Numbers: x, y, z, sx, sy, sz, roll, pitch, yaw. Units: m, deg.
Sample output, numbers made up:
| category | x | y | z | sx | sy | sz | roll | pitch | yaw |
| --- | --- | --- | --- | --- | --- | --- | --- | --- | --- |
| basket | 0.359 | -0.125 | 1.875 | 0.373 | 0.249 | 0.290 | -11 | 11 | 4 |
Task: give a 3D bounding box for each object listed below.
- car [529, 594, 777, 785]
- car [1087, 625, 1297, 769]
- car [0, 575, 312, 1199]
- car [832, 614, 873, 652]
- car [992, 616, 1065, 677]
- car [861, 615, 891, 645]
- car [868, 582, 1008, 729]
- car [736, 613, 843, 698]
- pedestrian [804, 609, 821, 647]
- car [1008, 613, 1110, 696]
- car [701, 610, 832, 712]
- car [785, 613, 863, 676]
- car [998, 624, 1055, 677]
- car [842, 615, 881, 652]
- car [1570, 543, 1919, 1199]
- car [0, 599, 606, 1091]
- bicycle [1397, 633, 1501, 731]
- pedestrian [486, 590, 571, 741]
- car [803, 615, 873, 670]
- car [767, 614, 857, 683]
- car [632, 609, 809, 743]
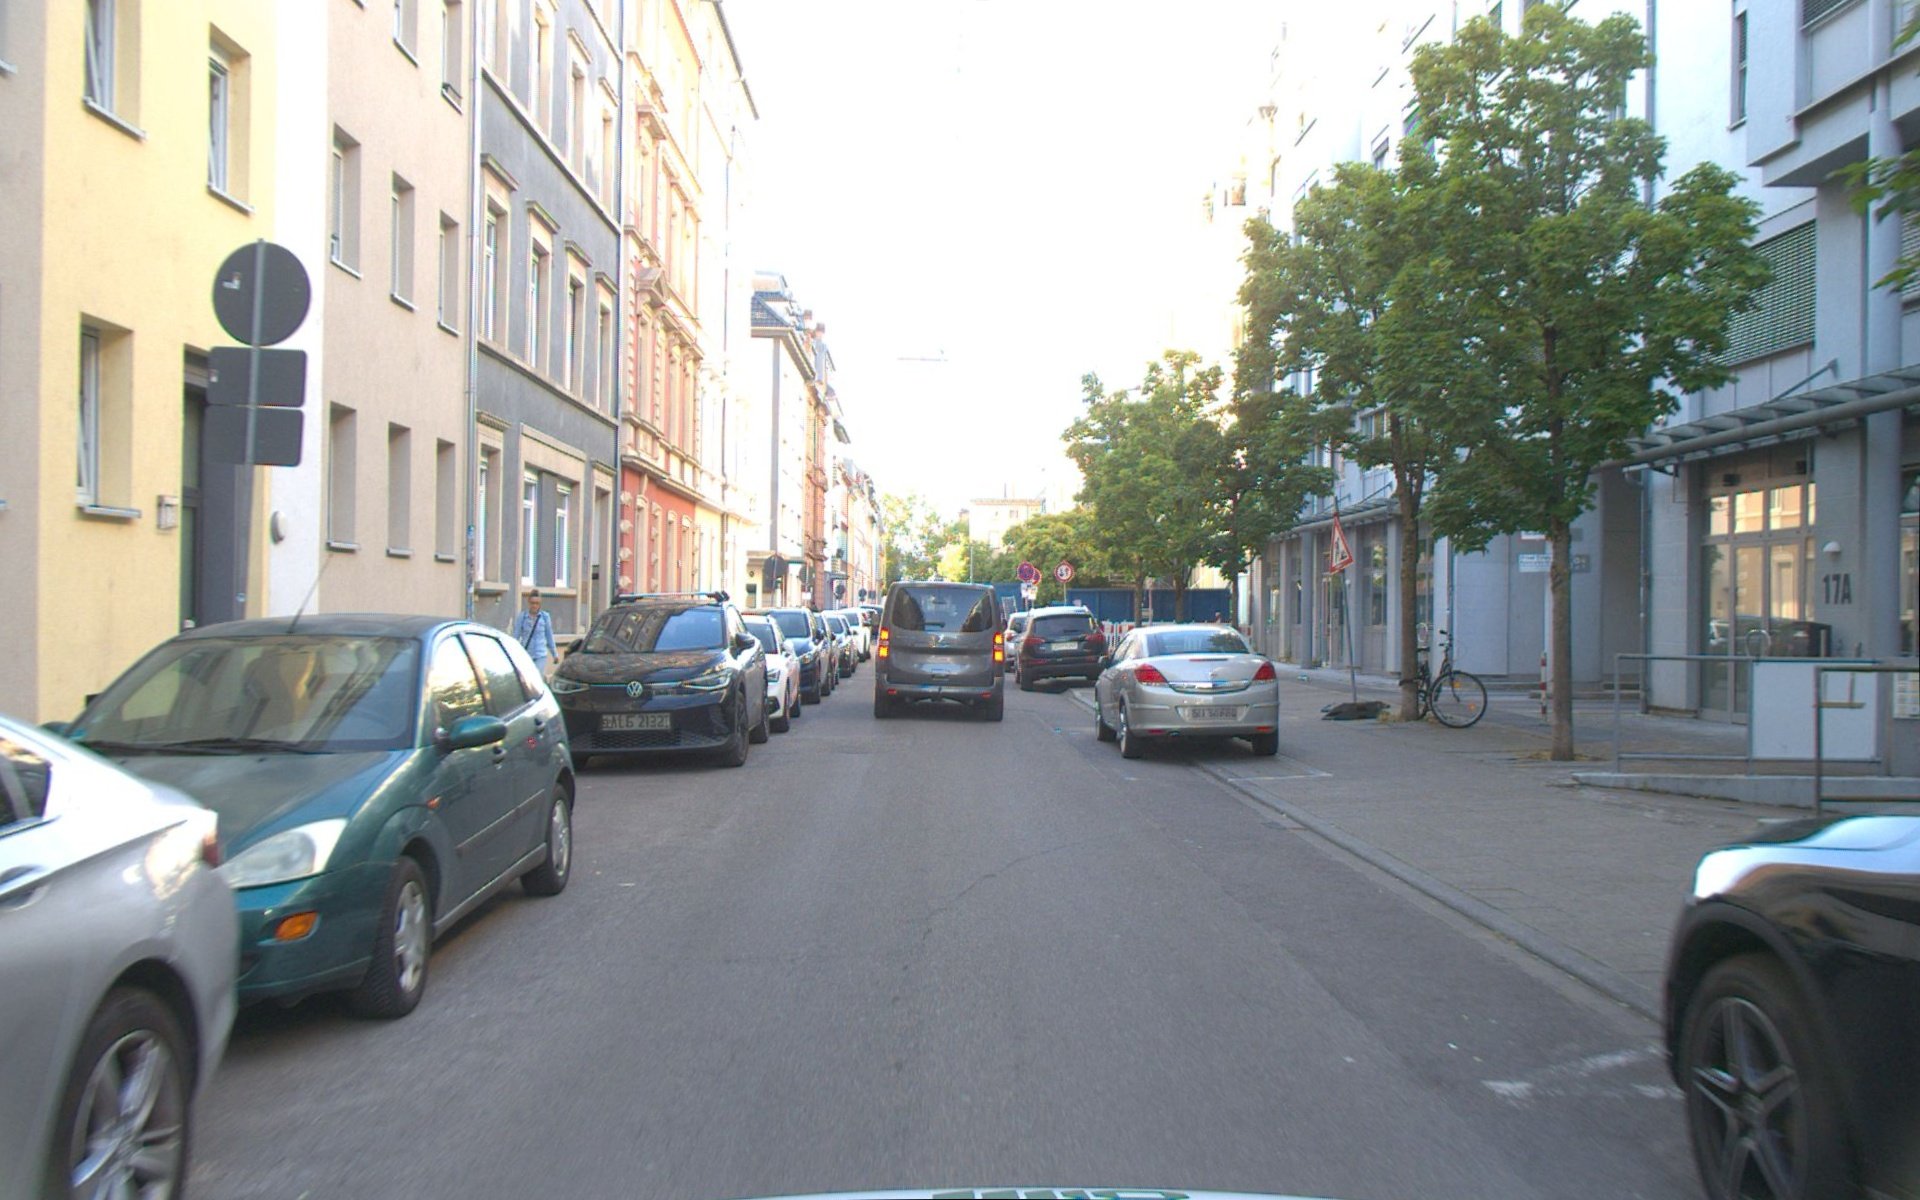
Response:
| category | x | y | z | sx | sy | sz | roll | pitch | yaw |
| --- | --- | --- | --- | --- | --- | --- | --- | --- | --- |
| car | -3.032 | 0.825 | 17.254 | 1.882 | 1.693 | 4.467 | -1 | 0 | -2 |
| car | 2.542 | 1.022 | 19.115 | 1.728 | 1.454 | 4.343 | -1 | -1 | -1 |
| car | -2.626 | 0.710 | 2.141 | 1.884 | 1.514 | 4.615 | 0 | -1 | -2 |
| car | -4.758 | 1.455 | 73.082 | 1.624 | 1.485 | 3.414 | 6 | -2 | -5 |
| car | 1.800 | 1.228 | 44.727 | 1.643 | 1.552 | 3.968 | 0 | -1 | -2 |
| car | -6.017 | 2.169 | 118.663 | 1.855 | 1.878 | 4.344 | 6 | -2 | -5 |
| car | -0.324 | 0.799 | 24.471 | 1.827 | 1.919 | 4.234 | 2 | -1 | -1 |
| car | -3.412 | 1.079 | 33.722 | 1.863 | 1.587 | 4.238 | -1 | 0 | -2 |
| pedestrian | -6.633 | 1.257 | 74.332 | 0.725 | 1.694 | 0.703 | 1 | -1 | -6 |
| car | 2.065 | 1.137 | 35.596 | 1.847 | 1.651 | 4.433 | -1 | -1 | -1 |
| car | -3.234 | 0.983 | 28.381 | 1.882 | 1.587 | 4.265 | -1 | 0 | -2 |
| car | -3.606 | 1.161 | 44.612 | 1.882 | 1.587 | 4.265 | -1 | 0 | -2 |
| car | 1.965 | 1.489 | 49.455 | 1.641 | 1.502 | 3.730 | -1 | -1 | 1 |
| car | -5.331 | 1.801 | 89.129 | 1.855 | 1.749 | 3.750 | 6 | -2 | -5 |
| car | 2.757 | 0.707 | 2.501 | 1.833 | 1.664 | 4.721 | -1 | -1 | -1 |
| car | -2.859 | 0.795 | 7.355 | 1.743 | 1.514 | 4.419 | 0 | -1 | -2 |
| bicycle | 6.214 | 1.022 | 21.116 | 0.510 | 1.189 | 1.735 | 0 | -1 | -11 |
| pedestrian | -5.354 | 0.801 | 20.571 | 0.773 | 1.822 | 1.092 | 0 | -1 | -1 |
| car | -3.651 | 1.243 | 50.013 | 1.882 | 1.533 | 4.265 | -1 | 0 | -1 |
| car | -3.445 | 1.105 | 39.194 | 1.882 | 1.510 | 4.265 | -1 | 0 | -2 |
| car | -3.111 | 0.938 | 22.282 | 1.882 | 1.587 | 4.265 | -1 | 0 | -2 |
